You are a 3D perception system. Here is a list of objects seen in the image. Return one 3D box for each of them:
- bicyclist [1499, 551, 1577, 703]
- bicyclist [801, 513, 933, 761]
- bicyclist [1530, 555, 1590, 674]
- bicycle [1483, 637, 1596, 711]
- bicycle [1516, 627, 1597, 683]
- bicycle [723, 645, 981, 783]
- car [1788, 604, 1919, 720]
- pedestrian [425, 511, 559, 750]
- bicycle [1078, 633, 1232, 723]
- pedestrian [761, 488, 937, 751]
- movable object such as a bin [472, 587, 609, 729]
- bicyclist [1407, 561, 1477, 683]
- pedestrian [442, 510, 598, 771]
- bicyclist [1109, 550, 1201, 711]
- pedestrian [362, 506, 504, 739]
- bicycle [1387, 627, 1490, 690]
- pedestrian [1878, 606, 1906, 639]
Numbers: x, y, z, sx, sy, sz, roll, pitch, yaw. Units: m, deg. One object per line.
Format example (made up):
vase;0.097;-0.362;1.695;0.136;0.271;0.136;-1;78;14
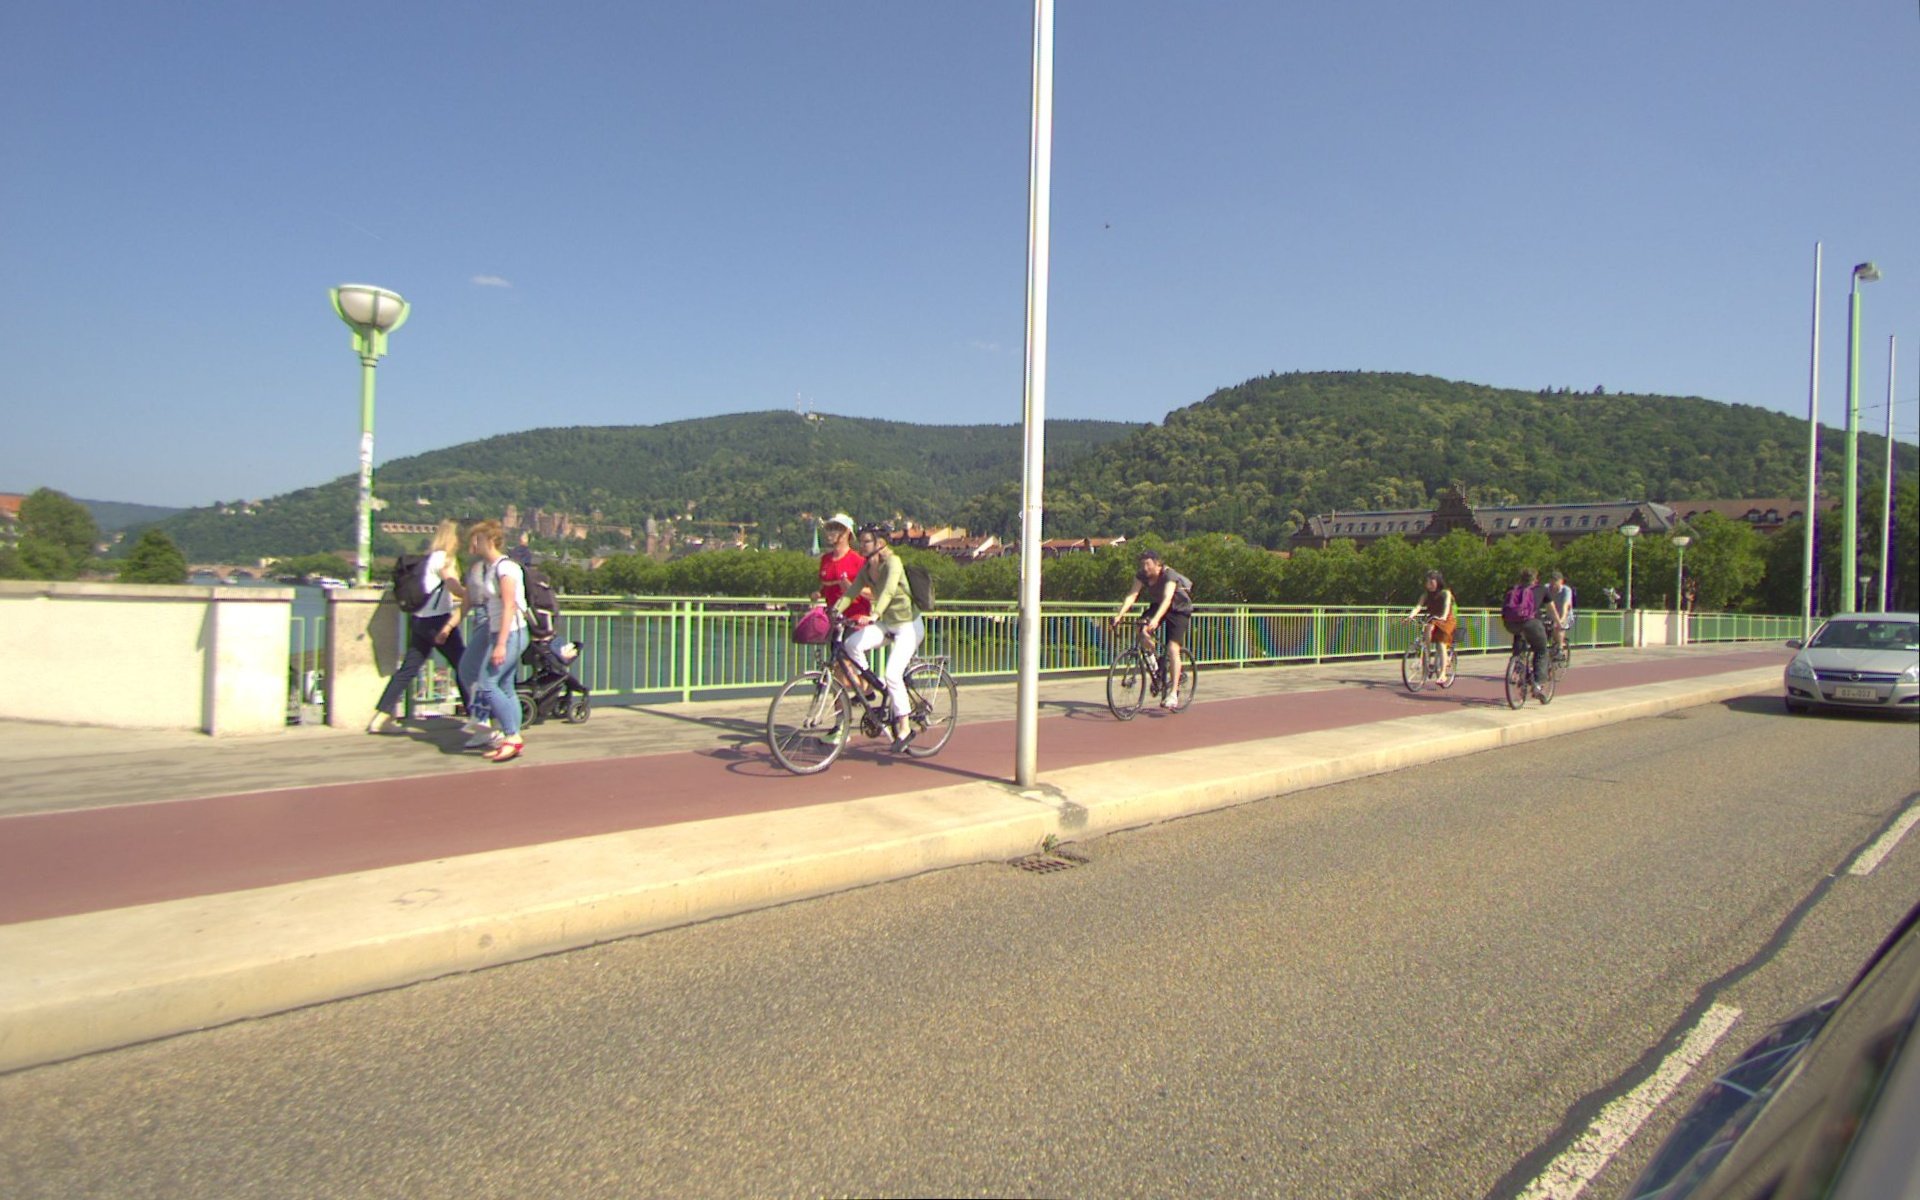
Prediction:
bicyclist;7.076;0.310;12.392;0.660;1.791;0.587;1;1;-40
bicyclist;-0.670;0.236;7.265;0.690;1.671;0.587;1;2;-42
bicyclist;9.595;0.213;16.188;0.690;1.842;0.587;1;2;-42
bicycle;7.169;0.878;12.486;1.833;0.775;0.595;0;2;-40
bicycle;9.543;0.853;16.170;1.835;0.775;0.594;0;2;-43
bicycle;-0.720;0.757;7.234;1.835;0.775;0.594;0;2;-43
car;13.695;0.815;14.837;4.250;1.484;1.708;0;0;-41
pedestrian;-3.506;0.202;7.579;0.733;1.679;0.668;1;2;-41
bicycle;2.043;0.763;10.433;1.800;0.775;0.594;0;2;-43
pedestrian;-0.892;0.127;8.168;1.108;1.948;0.812;0;2;-41
movable object such as a bin;-3.532;0.458;8.542;0.917;1.104;0.583;1;2;-41
bicyclist;6.819;0.295;14.321;0.689;1.671;0.606;1;2;-40
pedestrian;-3.057;0.248;7.025;0.810;1.679;0.664;1;2;-41
bicyclist;2.003;0.288;10.372;0.690;1.578;0.587;0;2;-42
pedestrian;-4.160;0.154;7.993;0.844;1.727;0.664;1;2;-41
bicycle;6.796;0.806;14.330;1.833;0.775;0.595;0;2;-40
pedestrian;51.091;1.221;55.488;1.063;1.683;0.949;1;2;-41
